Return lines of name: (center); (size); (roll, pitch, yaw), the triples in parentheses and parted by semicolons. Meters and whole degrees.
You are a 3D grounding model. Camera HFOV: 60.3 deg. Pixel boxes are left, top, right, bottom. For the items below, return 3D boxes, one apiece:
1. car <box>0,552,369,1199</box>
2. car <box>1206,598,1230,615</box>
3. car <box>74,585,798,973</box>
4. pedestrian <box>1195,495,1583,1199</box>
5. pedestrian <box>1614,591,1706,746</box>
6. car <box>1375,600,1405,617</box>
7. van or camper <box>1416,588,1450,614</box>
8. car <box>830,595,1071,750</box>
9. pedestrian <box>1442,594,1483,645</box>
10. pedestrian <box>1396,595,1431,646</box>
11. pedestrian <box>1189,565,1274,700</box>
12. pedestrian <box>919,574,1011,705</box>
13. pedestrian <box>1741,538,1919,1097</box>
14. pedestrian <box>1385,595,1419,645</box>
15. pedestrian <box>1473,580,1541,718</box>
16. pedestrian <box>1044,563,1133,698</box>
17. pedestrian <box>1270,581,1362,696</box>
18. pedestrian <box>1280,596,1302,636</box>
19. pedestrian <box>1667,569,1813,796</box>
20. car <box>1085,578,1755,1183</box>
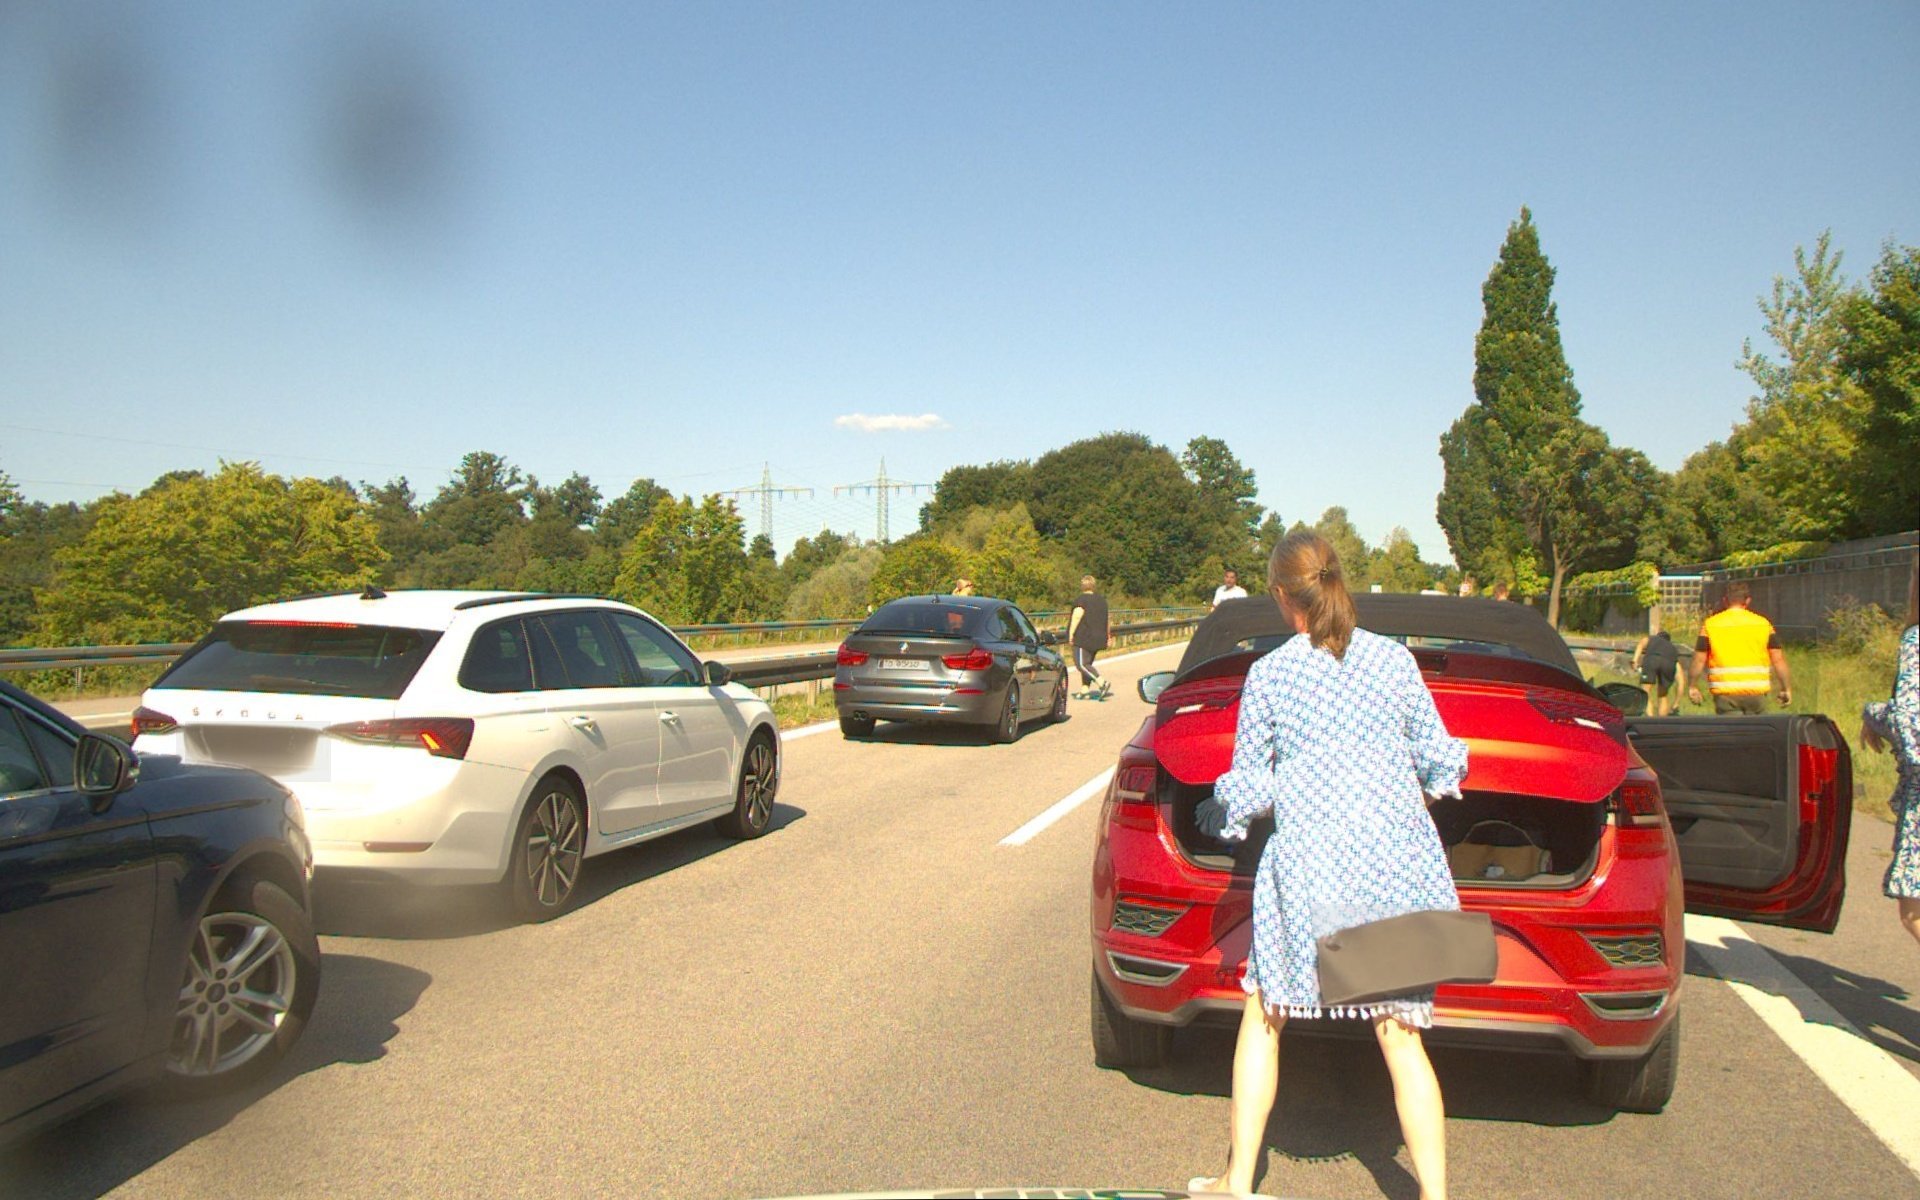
car: (-2.968, 0.661, 3.196); (1.750, 1.519, 4.495); (0, 0, 4)
car: (22.332, 0.545, 142.892); (1.658, 1.451, 4.308); (1, 0, 14)
car: (-2.326, 0.687, 8.627); (1.658, 1.466, 4.214); (1, 0, 13)
pedestrian: (1.017, 0.632, 3.999); (0.821, 1.712, 0.744); (0, 0, 13)
pedestrian: (8.241, 0.789, 19.498); (0.876, 1.755, 0.755); (1, 0, 16)
car: (40.489, 0.772, 155.835); (1.700, 1.513, 4.202); (1, 0, 29)
van or camper: (43.728, 0.112, 152.887); (1.957, 2.356, 4.460); (1, 0, 31)
car: (0.037, 0.687, 18.140); (1.658, 1.451, 4.337); (1, 0, 13)
pedestrian: (17.215, 0.665, 56.701); (0.982, 1.719, 1.004); (1, 0, 43)
pedestrian: (15.697, 0.700, 57.234); (1.090, 1.719, 0.973); (1, 0, 20)
pedestrian: (4.005, 0.470, 24.525); (1.082, 1.946, 1.257); (0, 0, 2)
pedestrian: (0.086, 0.543, 23.346); (1.018, 1.794, 1.119); (0, 0, 16)
pedestrian: (3.326, 0.669, 5.409); (0.875, 1.725, 1.124); (0, 0, -16)
pedestrian: (15.659, 0.701, 58.584); (1.034, 1.719, 1.017); (1, 0, 20)
pedestrian: (7.340, 0.644, 22.219); (0.794, 1.790, 0.828); (1, 0, 15)
pedestrian: (1.885, 0.437, 24.153); (1.043, 1.916, 1.093); (0, 0, 20)
pedestrian: (5.808, 0.617, 27.032); (1.069, 1.820, 1.103); (1, 0, -14)
pedestrian: (14.327, 0.683, 71.586); (0.775, 1.719, 0.792); (1, 0, 18)
pedestrian: (6.097, 0.611, 12.994); (0.938, 1.682, 1.278); (0, 0, 22)
car: (1.664, 0.709, 6.461); (1.695, 1.513, 4.214); (1, 0, 13)
